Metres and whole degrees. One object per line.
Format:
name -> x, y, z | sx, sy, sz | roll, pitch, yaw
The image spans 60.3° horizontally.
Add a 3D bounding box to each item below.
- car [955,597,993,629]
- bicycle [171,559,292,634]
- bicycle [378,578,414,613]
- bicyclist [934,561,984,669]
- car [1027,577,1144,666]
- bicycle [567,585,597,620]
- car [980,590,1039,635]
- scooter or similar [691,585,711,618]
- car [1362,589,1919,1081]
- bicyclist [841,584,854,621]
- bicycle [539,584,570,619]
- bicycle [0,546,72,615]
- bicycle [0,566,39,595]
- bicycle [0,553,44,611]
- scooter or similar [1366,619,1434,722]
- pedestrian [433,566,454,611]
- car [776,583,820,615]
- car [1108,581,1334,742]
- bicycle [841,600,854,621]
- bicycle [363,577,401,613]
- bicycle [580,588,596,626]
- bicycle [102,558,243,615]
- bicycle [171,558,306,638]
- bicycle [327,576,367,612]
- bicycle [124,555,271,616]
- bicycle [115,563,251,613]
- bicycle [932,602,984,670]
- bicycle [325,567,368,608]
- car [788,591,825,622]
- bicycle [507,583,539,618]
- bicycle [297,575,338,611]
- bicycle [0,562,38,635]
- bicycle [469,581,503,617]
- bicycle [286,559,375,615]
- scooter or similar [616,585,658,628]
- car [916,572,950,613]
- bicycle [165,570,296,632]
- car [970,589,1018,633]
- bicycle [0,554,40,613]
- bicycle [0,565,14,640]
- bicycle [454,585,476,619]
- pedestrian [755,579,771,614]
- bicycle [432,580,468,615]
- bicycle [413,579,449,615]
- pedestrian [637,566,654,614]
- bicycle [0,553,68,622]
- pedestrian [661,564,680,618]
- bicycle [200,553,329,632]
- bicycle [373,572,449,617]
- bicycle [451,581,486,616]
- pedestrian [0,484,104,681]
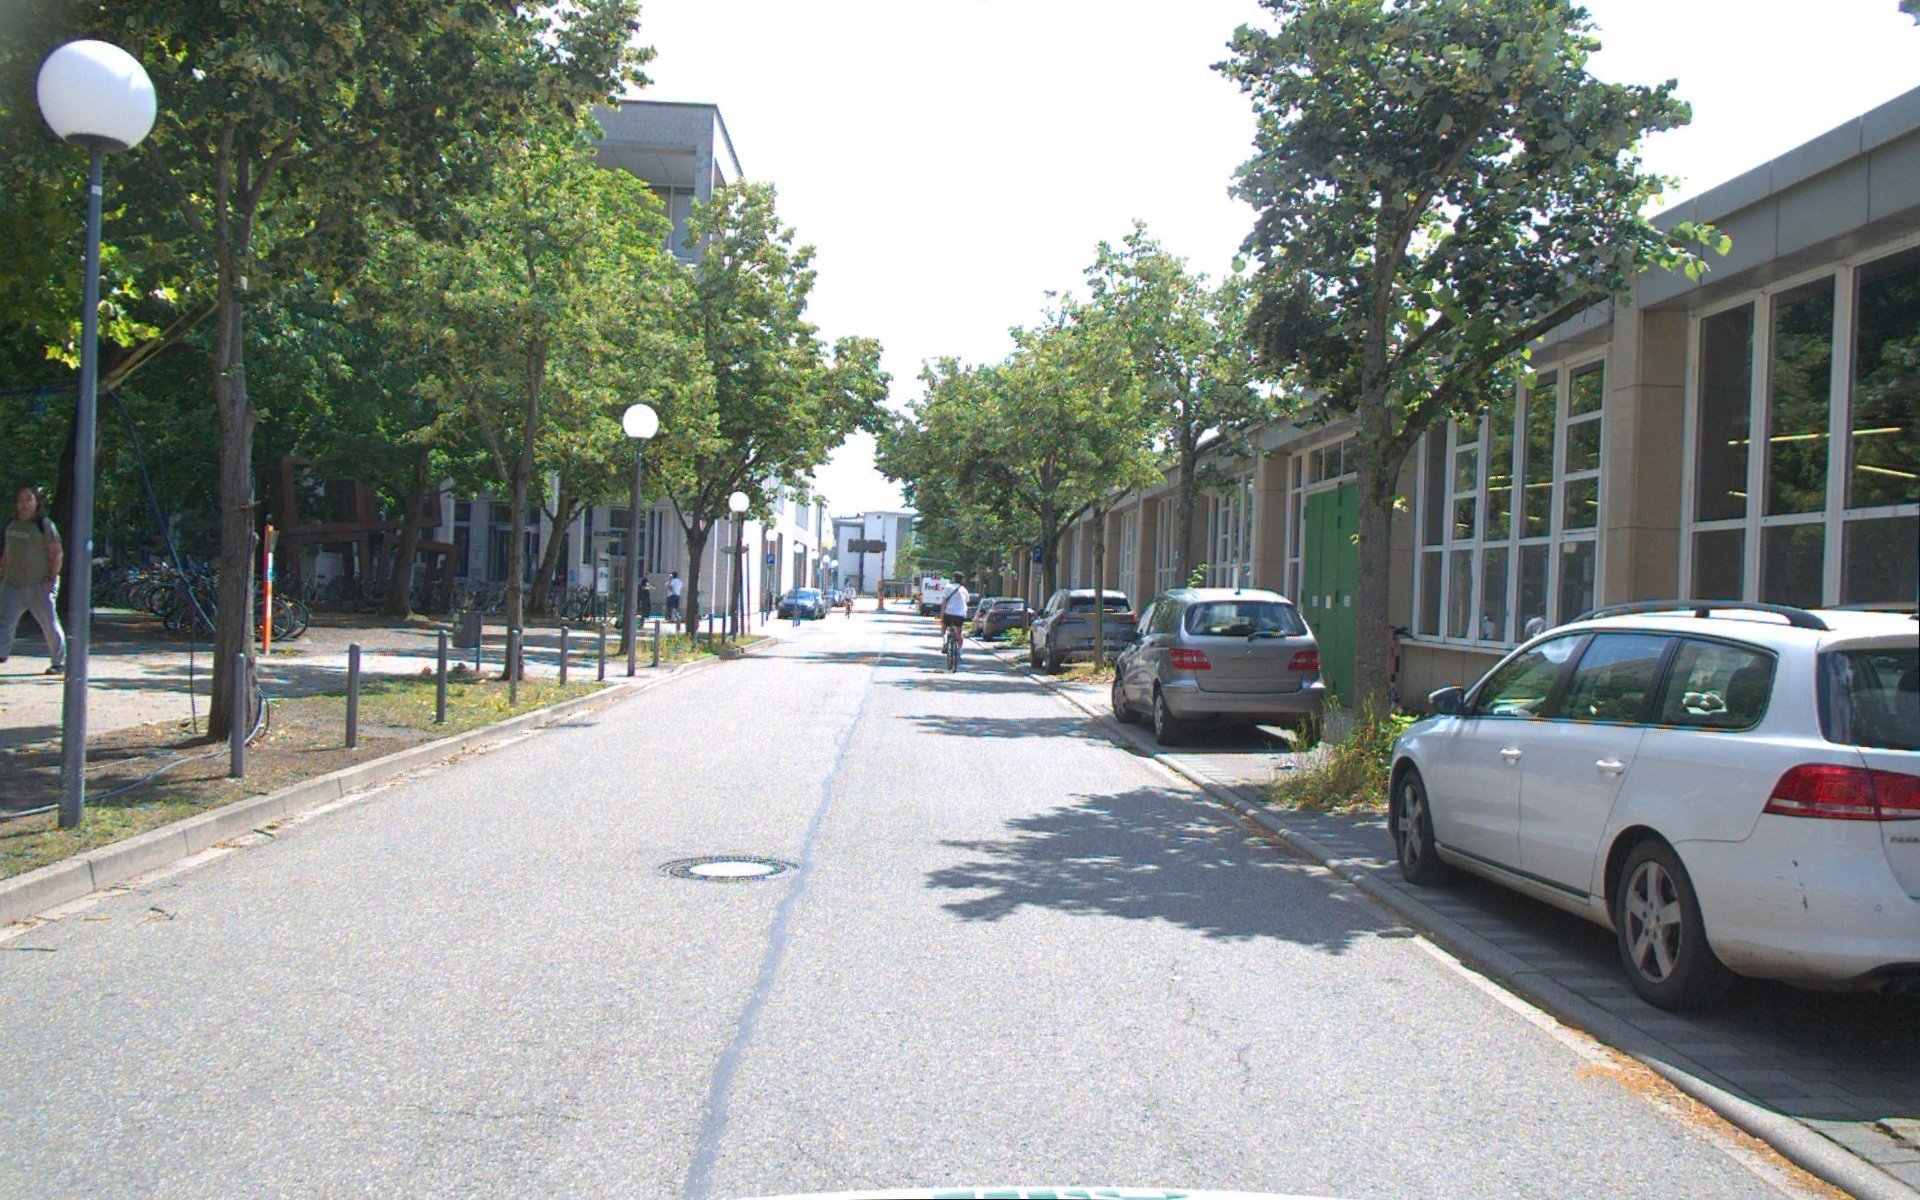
car -> 0.717, 0.647, 85.768 | 1.821, 1.601, 3.999 | 1, 0, -2
bicycle -> -12.032, -0.054, 27.351 | 1.747, 1.151, 0.456 | 3, 0, -20
bicycle -> -17.557, -0.143, 51.505 | 0.466, 1.050, 1.849 | 3, 0, -1
bicyclist -> -0.032, 0.284, 32.292 | 0.856, 2.049, 0.849 | 3, 0, -2
car -> 2.523, 0.446, 34.280 | 1.786, 1.693, 4.580 | 1, -1, -4
bicycle -> -12.377, 0.073, 54.198 | 0.541, 1.105, 1.972 | 4, 0, -2
car -> 1.699, 0.419, 57.901 | 1.745, 1.502, 4.460 | 1, 0, -2
scooter or similar -> -10.061, 0.074, 64.171 | 0.445, 1.245, 1.549 | 2, 0, 2
car -> 3.361, 0.719, 7.409 | 1.691, 1.493, 4.668 | 1, 0, -4
bicyclist -> -6.359, 0.120, 93.350 | 0.697, 2.049, 1.018 | 1, 0, -4
bicycle -> -13.315, 0.046, 54.353 | 0.541, 1.105, 1.972 | 4, 0, -2
bicycle -> -18.155, -0.390, 31.533 | 2.039, 1.256, 0.632 | 3, 0, -38
bicycle -> -29.377, -0.607, 51.255 | 0.538, 0.886, 2.646 | 3, 0, -9
bicycle -> -19.471, -0.393, 33.103 | 1.941, 1.108, 0.541 | 3, 0, -32
scooter or similar -> 5.588, 0.879, 21.053 | 0.407, 1.238, 1.492 | 1, 0, -2
pedestrian -> -19.640, -0.438, 62.859 | 0.622, 1.690, 0.692 | 3, 0, -13
car -> -7.908, -0.036, 80.922 | 1.730, 1.452, 4.234 | 3, -1, 0
car -> 2.834, 0.620, 18.815 | 1.670, 1.601, 4.137 | 1, 0, -4
bicycle -> -6.358, 0.579, 93.315 | 0.671, 1.149, 1.887 | 2, 0, -4
bicycle -> -18.820, -0.152, 53.883 | 0.541, 1.105, 1.972 | 4, 0, -2
bicycle -> -10.791, 0.197, 47.983 | 0.375, 1.043, 1.808 | 3, 0, -14
bicycle -> -18.745, -0.316, 39.436 | 0.868, 1.198, 2.862 | 3, 0, 45
bicycle -> -12.550, -0.035, 28.829 | 2.023, 1.256, 0.804 | 3, 0, -20
bicycle -> -19.990, -0.188, 53.965 | 0.541, 1.105, 1.972 | 4, 0, -2
bicycle -> -17.416, -0.314, 37.851 | 0.868, 1.241, 2.887 | 3, 0, 45
bicycle -> -18.067, -0.262, 38.504 | 2.713, 1.020, 0.868 | 3, 0, -45
bicycle -> -0.054, 0.682, 32.356 | 0.864, 1.220, 2.748 | 3, 0, -2
bicycle -> -19.832, -0.409, 53.503 | 0.514, 1.275, 2.381 | 2, 0, -1
car -> -7.997, 0.327, 86.264 | 1.598, 1.510, 4.176 | 3, 0, -2
bicycle -> -14.415, 0.018, 54.605 | 0.541, 1.105, 1.972 | 4, 0, -2
bicycle -> -20.901, -0.223, 53.833 | 0.541, 1.105, 1.972 | 4, 0, -2
bicycle -> -15.524, -0.057, 25.853 | 1.830, 1.108, 0.543 | 3, 0, -24
bicycle -> -15.528, -0.031, 54.220 | 0.541, 1.105, 1.972 | 4, 0, -2
bicycle -> -17.930, -0.358, 47.147 | 2.264, 1.475, 0.599 | 3, -1, -36
scooter or similar -> -9.488, 0.199, 48.555 | 0.333, 1.196, 1.324 | 3, 0, 33
car -> -1.867, -0.518, 112.662 | 2.042, 2.584, 4.313 | 3, 0, -2
bicycle -> -13.565, 0.024, 30.790 | 2.126, 1.026, 0.670 | 3, 0, -32
car -> 1.271, 0.411, 63.265 | 1.584, 1.565, 3.778 | 3, 0, -2
bicycle -> -20.210, -0.368, 34.142 | 2.039, 1.178, 0.632 | 3, 0, -38
bicycle -> -15.297, -0.012, 24.799 | 1.830, 1.108, 0.543 | 3, 0, -24
bicycle -> -14.846, 0.057, 49.643 | 0.467, 0.982, 1.651 | 3, 0, -13
pedestrian -> -10.043, -0.185, 84.419 | 0.638, 1.731, 0.886 | 3, 0, -13
bicycle -> -16.673, -0.074, 54.080 | 0.541, 1.105, 1.972 | 4, 0, -2
bicycle -> -17.316, -0.092, 54.180 | 0.541, 1.105, 1.972 | 4, 0, -2
pedestrian -> -11.899, -0.377, 62.527 | 0.437, 1.806, 0.446 | 3, 0, -33
bicycle -> -18.597, -0.273, 32.182 | 2.039, 1.256, 0.632 | 4, 0, -38
pedestrian -> -10.830, -0.346, 61.824 | 0.408, 1.975, 0.656 | 3, 0, -31
bicycle -> -12.545, -0.140, 29.907 | 2.023, 1.256, 0.804 | 5, -1, -20
bicycle -> -16.076, -0.156, 48.451 | 1.997, 1.275, 0.580 | 1, 0, -35
bicycle -> -16.079, -0.053, 54.132 | 0.541, 1.105, 1.972 | 4, 0, -2
pedestrian -> -9.830, -0.187, 17.484 | 0.898, 1.988, 0.893 | 4, -1, 8
